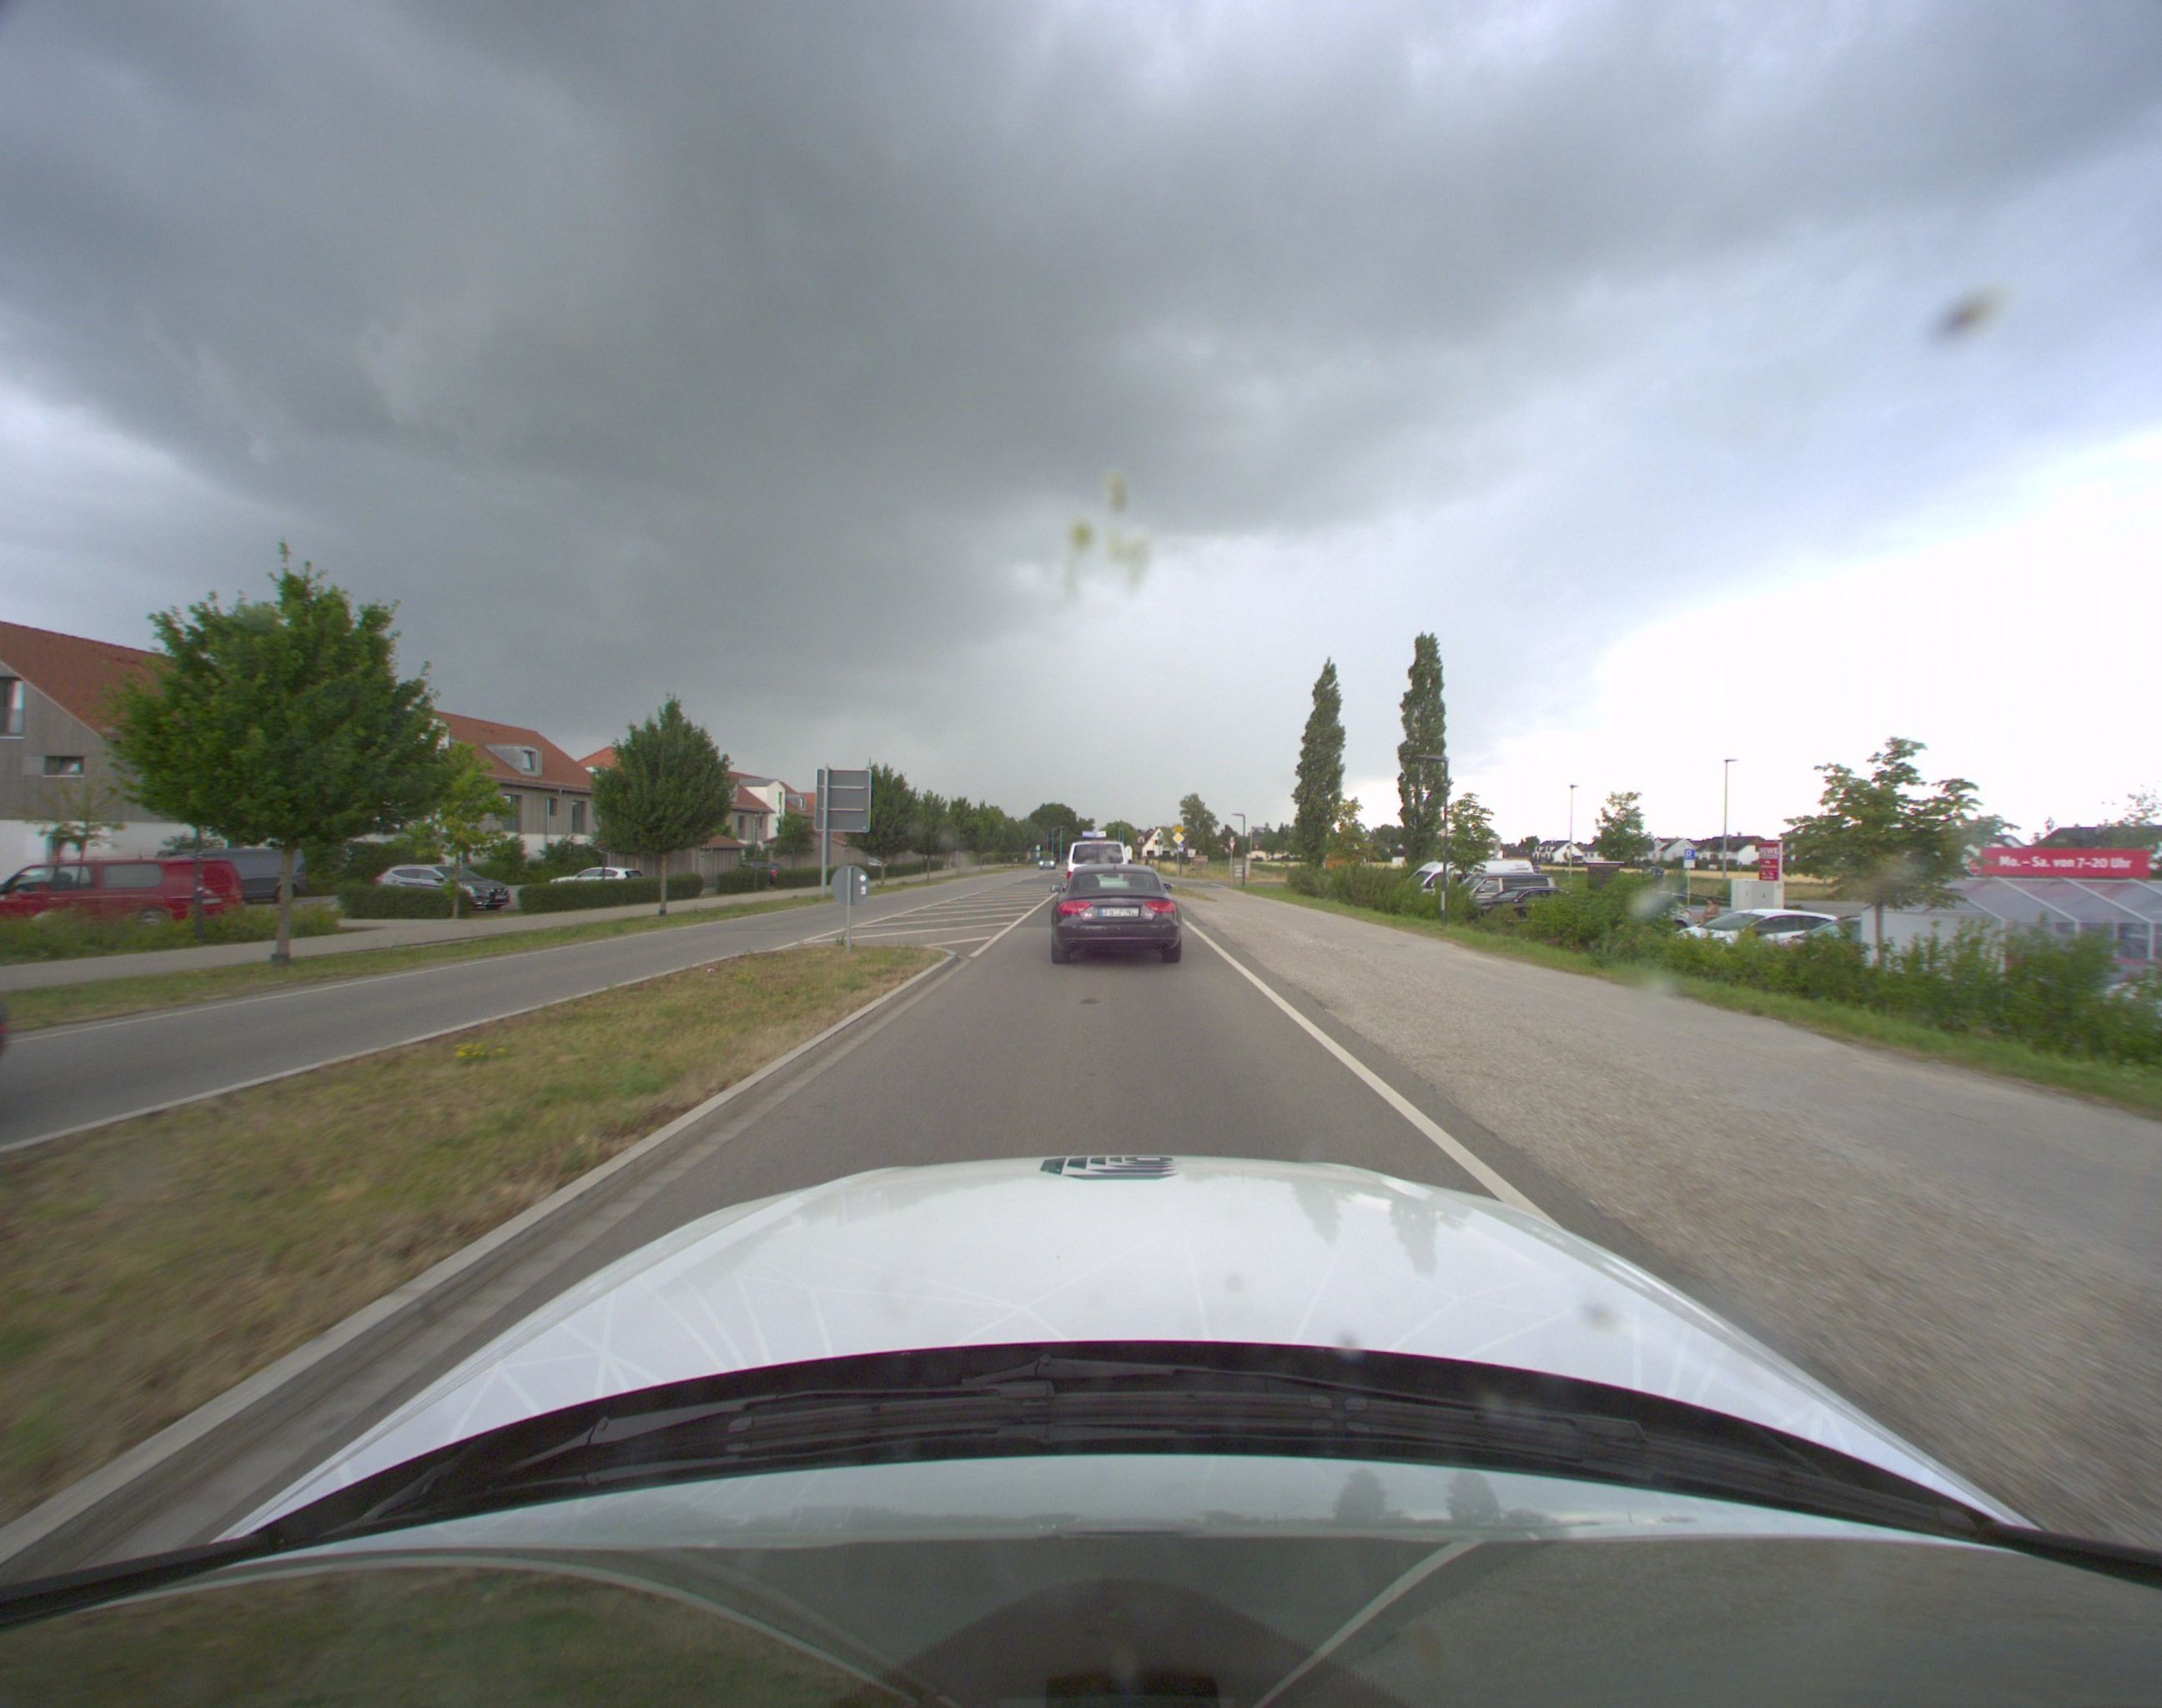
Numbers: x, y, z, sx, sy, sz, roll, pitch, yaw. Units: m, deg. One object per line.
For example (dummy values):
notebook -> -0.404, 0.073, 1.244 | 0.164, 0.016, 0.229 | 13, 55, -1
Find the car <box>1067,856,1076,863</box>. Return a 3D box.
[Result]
car -> -1.962, 1.115, 165.866 | 1.647, 1.429, 3.603 | -1, 0, 1

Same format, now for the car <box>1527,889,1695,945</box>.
car -> 17.132, 2.004, 26.493 | 4.133, 1.598, 2.080 | -1, 0, -1

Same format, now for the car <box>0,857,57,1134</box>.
car -> -7.176, 0.833, 2.824 | 1.819, 1.582, 4.218 | -1, 0, 2

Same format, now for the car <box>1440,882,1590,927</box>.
car -> 17.213, 1.992, 32.466 | 5.079, 1.598, 1.758 | -1, 0, -1

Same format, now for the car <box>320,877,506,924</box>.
car -> -22.944, 1.577, 28.087 | 4.886, 1.430, 1.907 | -1, 0, 2

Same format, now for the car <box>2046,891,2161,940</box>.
car -> 35.610, 2.039, 27.365 | 4.164, 1.433, 1.901 | -1, 0, -1

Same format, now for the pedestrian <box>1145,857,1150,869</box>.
pedestrian -> 8.454, 1.099, 103.281 | 0.621, 1.525, 0.680 | -1, 0, 1

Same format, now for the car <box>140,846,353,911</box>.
car -> -29.976, 0.801, 29.572 | 1.984, 2.013, 5.207 | 3, 0, 5

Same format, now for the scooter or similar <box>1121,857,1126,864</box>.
scooter or similar -> 6.500, 1.017, 124.356 | 0.845, 1.103, 1.094 | -1, 0, 2

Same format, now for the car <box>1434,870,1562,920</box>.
car -> 18.122, 1.764, 35.514 | 4.579, 2.013, 2.000 | -1, 0, -1

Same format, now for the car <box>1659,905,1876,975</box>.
car -> 17.312, 2.142, 20.672 | 4.133, 1.538, 1.675 | -1, 0, -1

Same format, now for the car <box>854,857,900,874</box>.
car -> -20.592, 1.170, 82.323 | 3.970, 1.556, 2.002 | 2, 0, 3

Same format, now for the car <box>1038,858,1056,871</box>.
car -> -3.880, 1.206, 94.614 | 1.763, 1.443, 4.002 | -1, 0, 2

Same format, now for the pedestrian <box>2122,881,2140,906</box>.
pedestrian -> 74.351, 2.794, 57.663 | 0.480, 1.761, 0.599 | -1, 0, 1

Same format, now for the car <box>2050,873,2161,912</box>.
car -> 59.104, 2.145, 46.862 | 1.986, 2.013, 4.002 | -1, 0, 2

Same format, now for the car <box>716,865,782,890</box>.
car -> -21.022, 1.476, 51.588 | 3.501, 1.489, 1.564 | -1, 0, 1

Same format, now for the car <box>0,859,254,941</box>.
car -> -23.205, 1.077, 19.663 | 4.879, 1.816, 1.910 | -1, 0, 6

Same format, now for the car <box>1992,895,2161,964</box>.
car -> 27.253, 1.956, 21.505 | 3.967, 1.618, 2.003 | -1, 0, 6

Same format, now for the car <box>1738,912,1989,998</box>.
car -> 16.471, 2.101, 17.271 | 3.744, 1.538, 1.675 | -1, 0, -1

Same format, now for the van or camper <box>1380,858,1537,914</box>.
van or camper -> 17.829, 1.472, 38.690 | 6.447, 2.464, 2.280 | -1, 0, -1

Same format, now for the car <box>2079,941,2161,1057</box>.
car -> 17.273, 2.099, 11.741 | 3.744, 1.538, 1.675 | -1, 0, -1

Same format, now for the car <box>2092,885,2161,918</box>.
car -> 53.895, 2.379, 40.941 | 1.738, 1.508, 3.580 | -1, 0, 2

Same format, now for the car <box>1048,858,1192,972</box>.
car -> 0.426, 0.798, 12.701 | 1.821, 1.388, 4.383 | -1, 0, -3

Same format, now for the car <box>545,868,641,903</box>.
car -> -22.545, 1.450, 37.691 | 3.501, 1.489, 1.564 | -1, 0, 1

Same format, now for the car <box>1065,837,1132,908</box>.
car -> 0.491, 0.516, 24.630 | 1.820, 1.913, 4.000 | 2, 0, 0
